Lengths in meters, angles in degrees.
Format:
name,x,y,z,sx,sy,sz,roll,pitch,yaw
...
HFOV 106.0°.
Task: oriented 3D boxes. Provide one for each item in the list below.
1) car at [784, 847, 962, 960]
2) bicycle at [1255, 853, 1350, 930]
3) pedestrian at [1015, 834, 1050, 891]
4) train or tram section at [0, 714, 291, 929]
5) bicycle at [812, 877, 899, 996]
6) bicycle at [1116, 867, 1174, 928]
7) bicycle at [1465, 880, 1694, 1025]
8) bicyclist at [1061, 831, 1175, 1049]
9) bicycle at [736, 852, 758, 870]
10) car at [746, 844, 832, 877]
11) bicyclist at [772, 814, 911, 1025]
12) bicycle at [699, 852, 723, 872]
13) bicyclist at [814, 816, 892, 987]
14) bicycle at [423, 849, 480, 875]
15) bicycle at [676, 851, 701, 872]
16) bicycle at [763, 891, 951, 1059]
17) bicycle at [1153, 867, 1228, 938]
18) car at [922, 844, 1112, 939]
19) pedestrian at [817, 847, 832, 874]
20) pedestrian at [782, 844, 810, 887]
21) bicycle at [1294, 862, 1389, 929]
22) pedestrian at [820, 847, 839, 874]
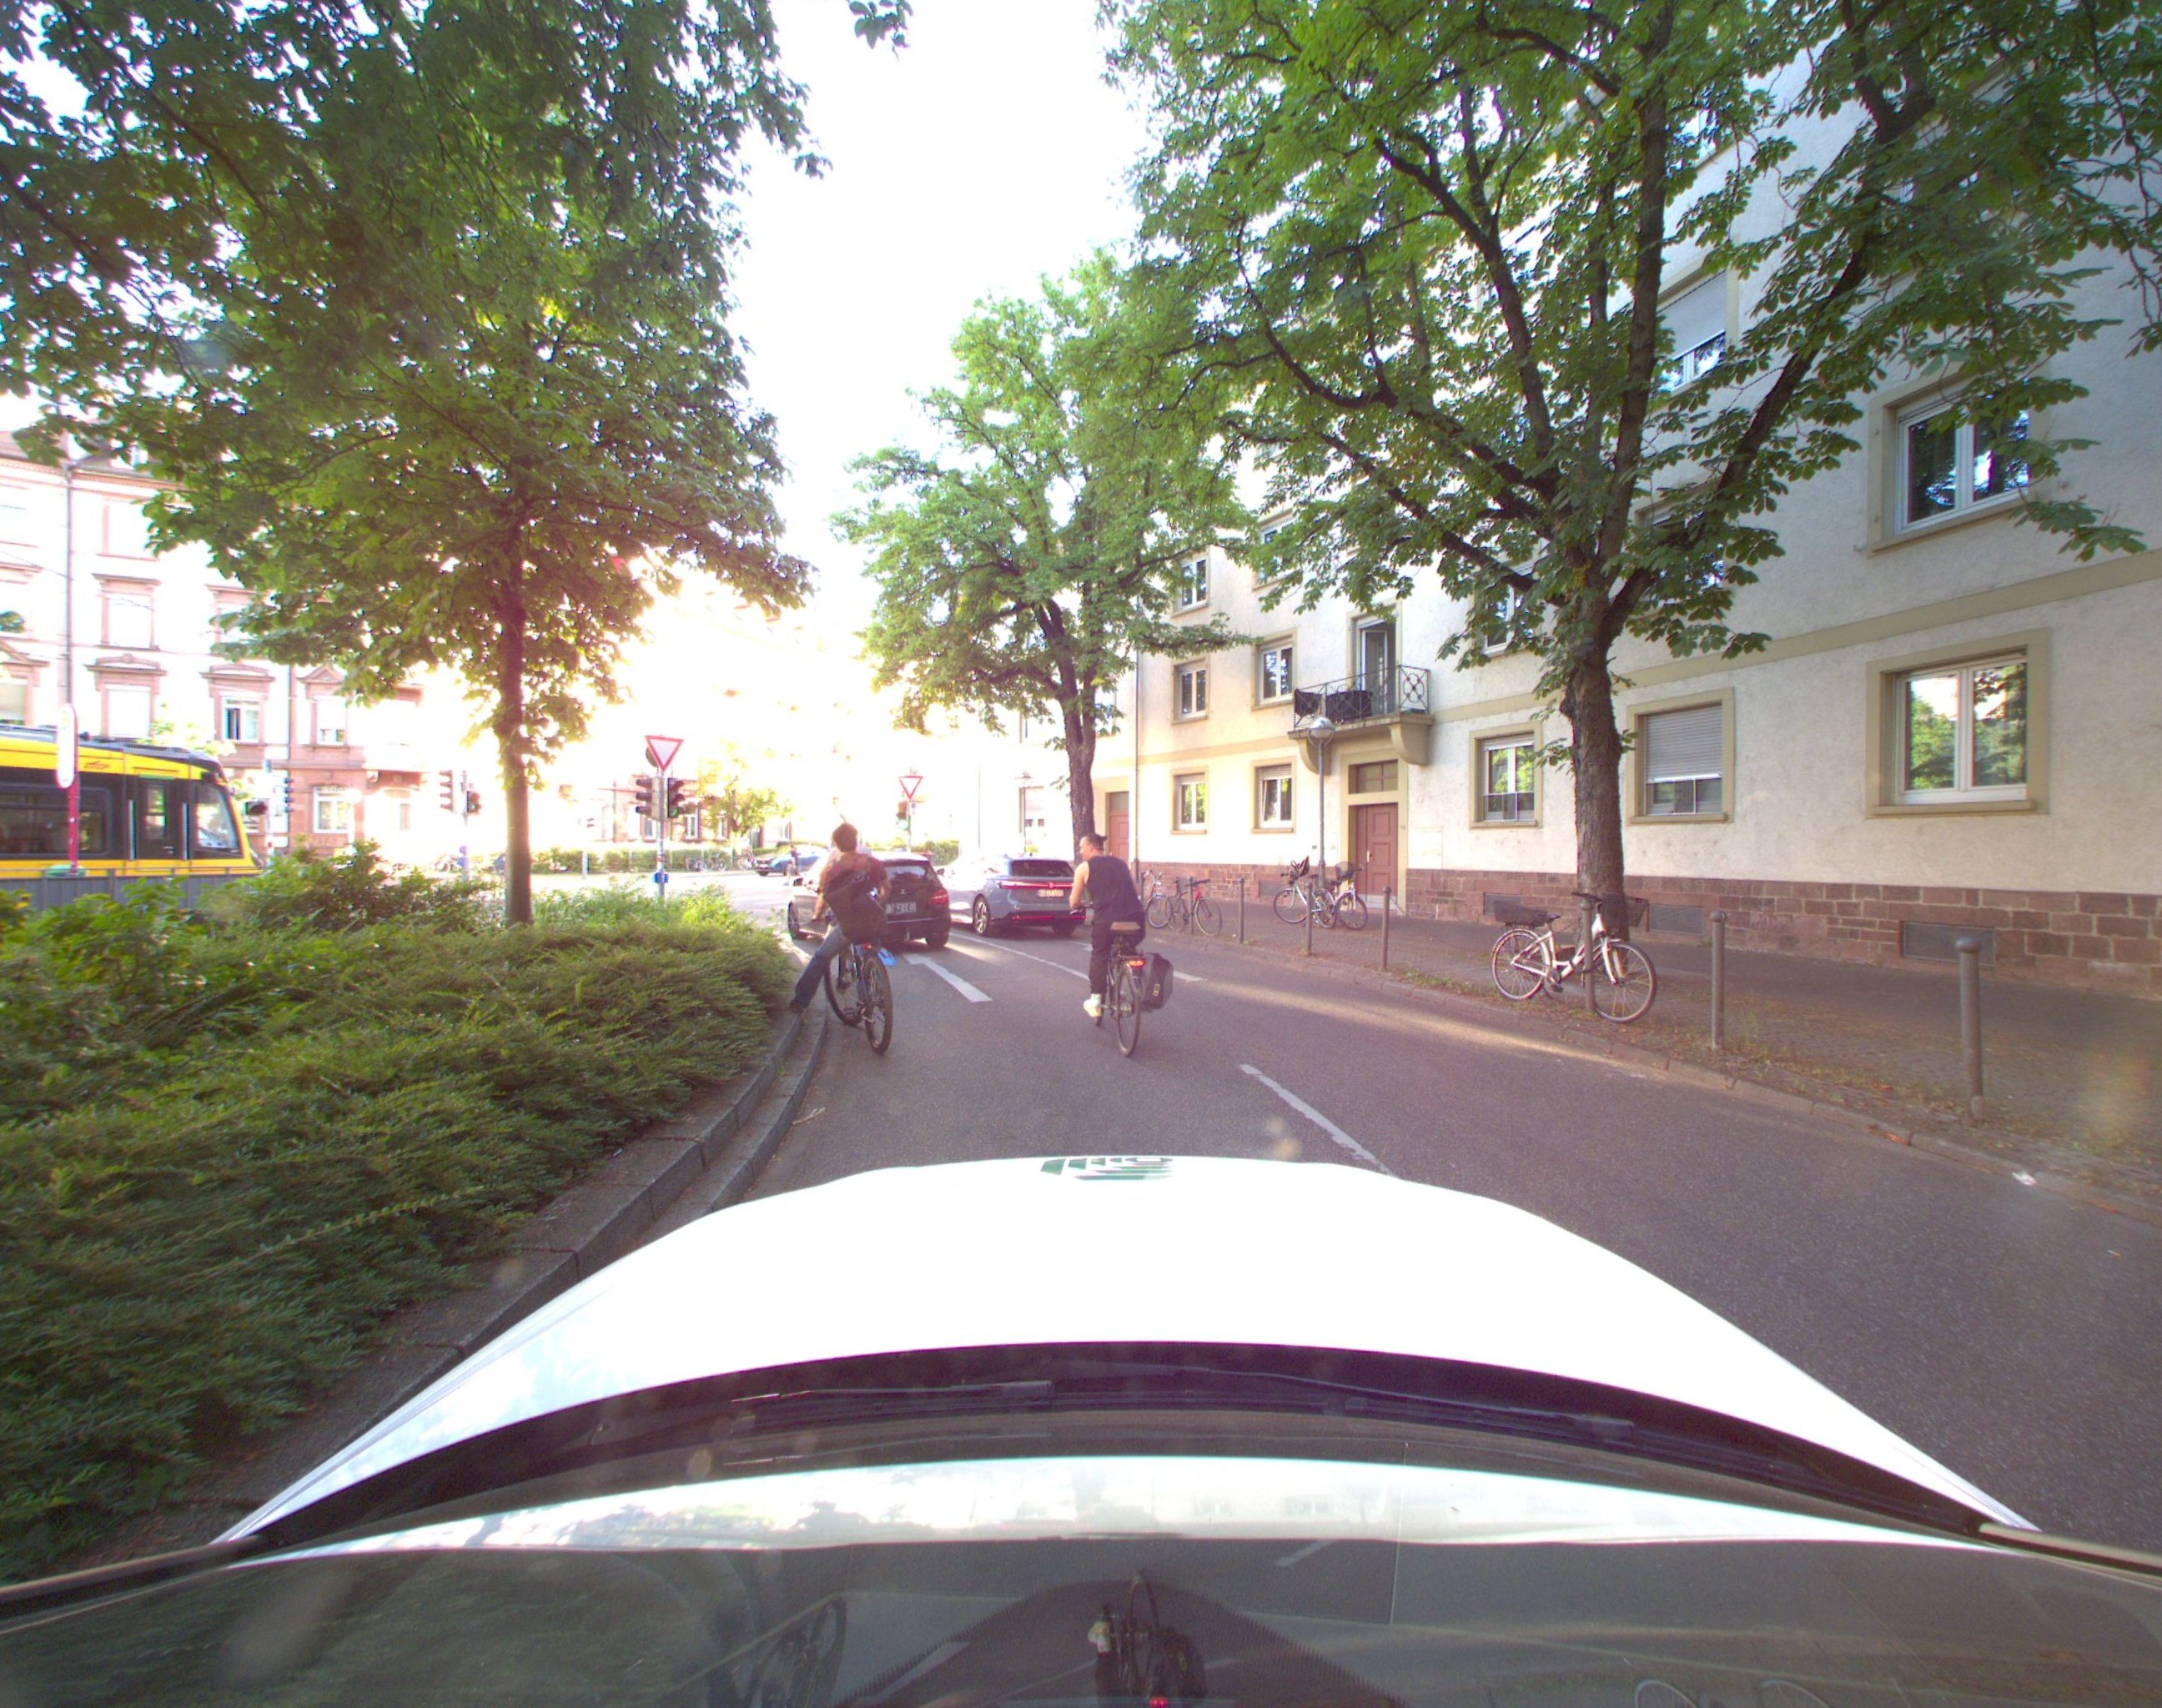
name,x,y,z,sx,sy,sz,roll,pitch,yaw
car,-3.606,0.697,13.604,1.802,1.542,3.821,-2,1,-32
bicycle,4.011,0.645,14.911,0.719,1.277,1.954,-1,1,-18
pedestrian,-1.494,0.251,25.091,0.648,1.727,0.878,-3,2,-37
train or tram section,-20.179,-0.560,12.274,2.769,3.619,11.857,1,0,19
bicycle,-2.768,0.906,9.824,0.813,1.184,2.211,0,0,-21
bicycle,1.239,0.821,16.094,0.482,1.063,1.625,-3,2,-20
bicycle,4.547,0.832,7.625,0.514,1.095,1.962,-2,1,-18
bicyclist,0.278,0.649,6.765,0.687,1.656,0.985,-1,0,-13
bicycle,-19.755,0.384,48.141,0.438,1.038,1.240,1,1,24
car,-15.552,0.320,43.629,1.926,1.650,4.432,0,0,19
bicyclist,-1.968,0.482,6.664,0.713,1.573,0.945,1,0,-44
bicycle,-20.787,0.432,45.731,0.438,1.107,1.241,1,1,25
bicyclist,-2.729,0.533,9.694,0.797,1.913,0.938,1,0,-21
bicycle,-28.117,0.381,36.382,1.975,1.107,0.438,2,-1,-38
bicycle,-21.414,0.401,44.441,0.438,1.107,1.241,1,1,25
bicycle,-1.931,0.917,6.830,0.723,1.107,1.943,1,0,-42
bicycle,1.914,0.821,14.484,0.528,1.107,1.728,-3,2,-21
car,-1.421,0.648,16.003,1.982,1.585,4.433,2,-1,-30
pedestrian,-16.609,0.427,52.793,0.655,1.715,0.640,0,0,32
pedestrian,-11.237,0.438,32.129,0.903,1.635,0.722,2,1,-13
bicycle,4.723,0.712,14.911,0.669,1.107,1.955,1,0,-17
pedestrian,-16.105,0.409,52.157,0.703,1.664,0.904,4,2,36
